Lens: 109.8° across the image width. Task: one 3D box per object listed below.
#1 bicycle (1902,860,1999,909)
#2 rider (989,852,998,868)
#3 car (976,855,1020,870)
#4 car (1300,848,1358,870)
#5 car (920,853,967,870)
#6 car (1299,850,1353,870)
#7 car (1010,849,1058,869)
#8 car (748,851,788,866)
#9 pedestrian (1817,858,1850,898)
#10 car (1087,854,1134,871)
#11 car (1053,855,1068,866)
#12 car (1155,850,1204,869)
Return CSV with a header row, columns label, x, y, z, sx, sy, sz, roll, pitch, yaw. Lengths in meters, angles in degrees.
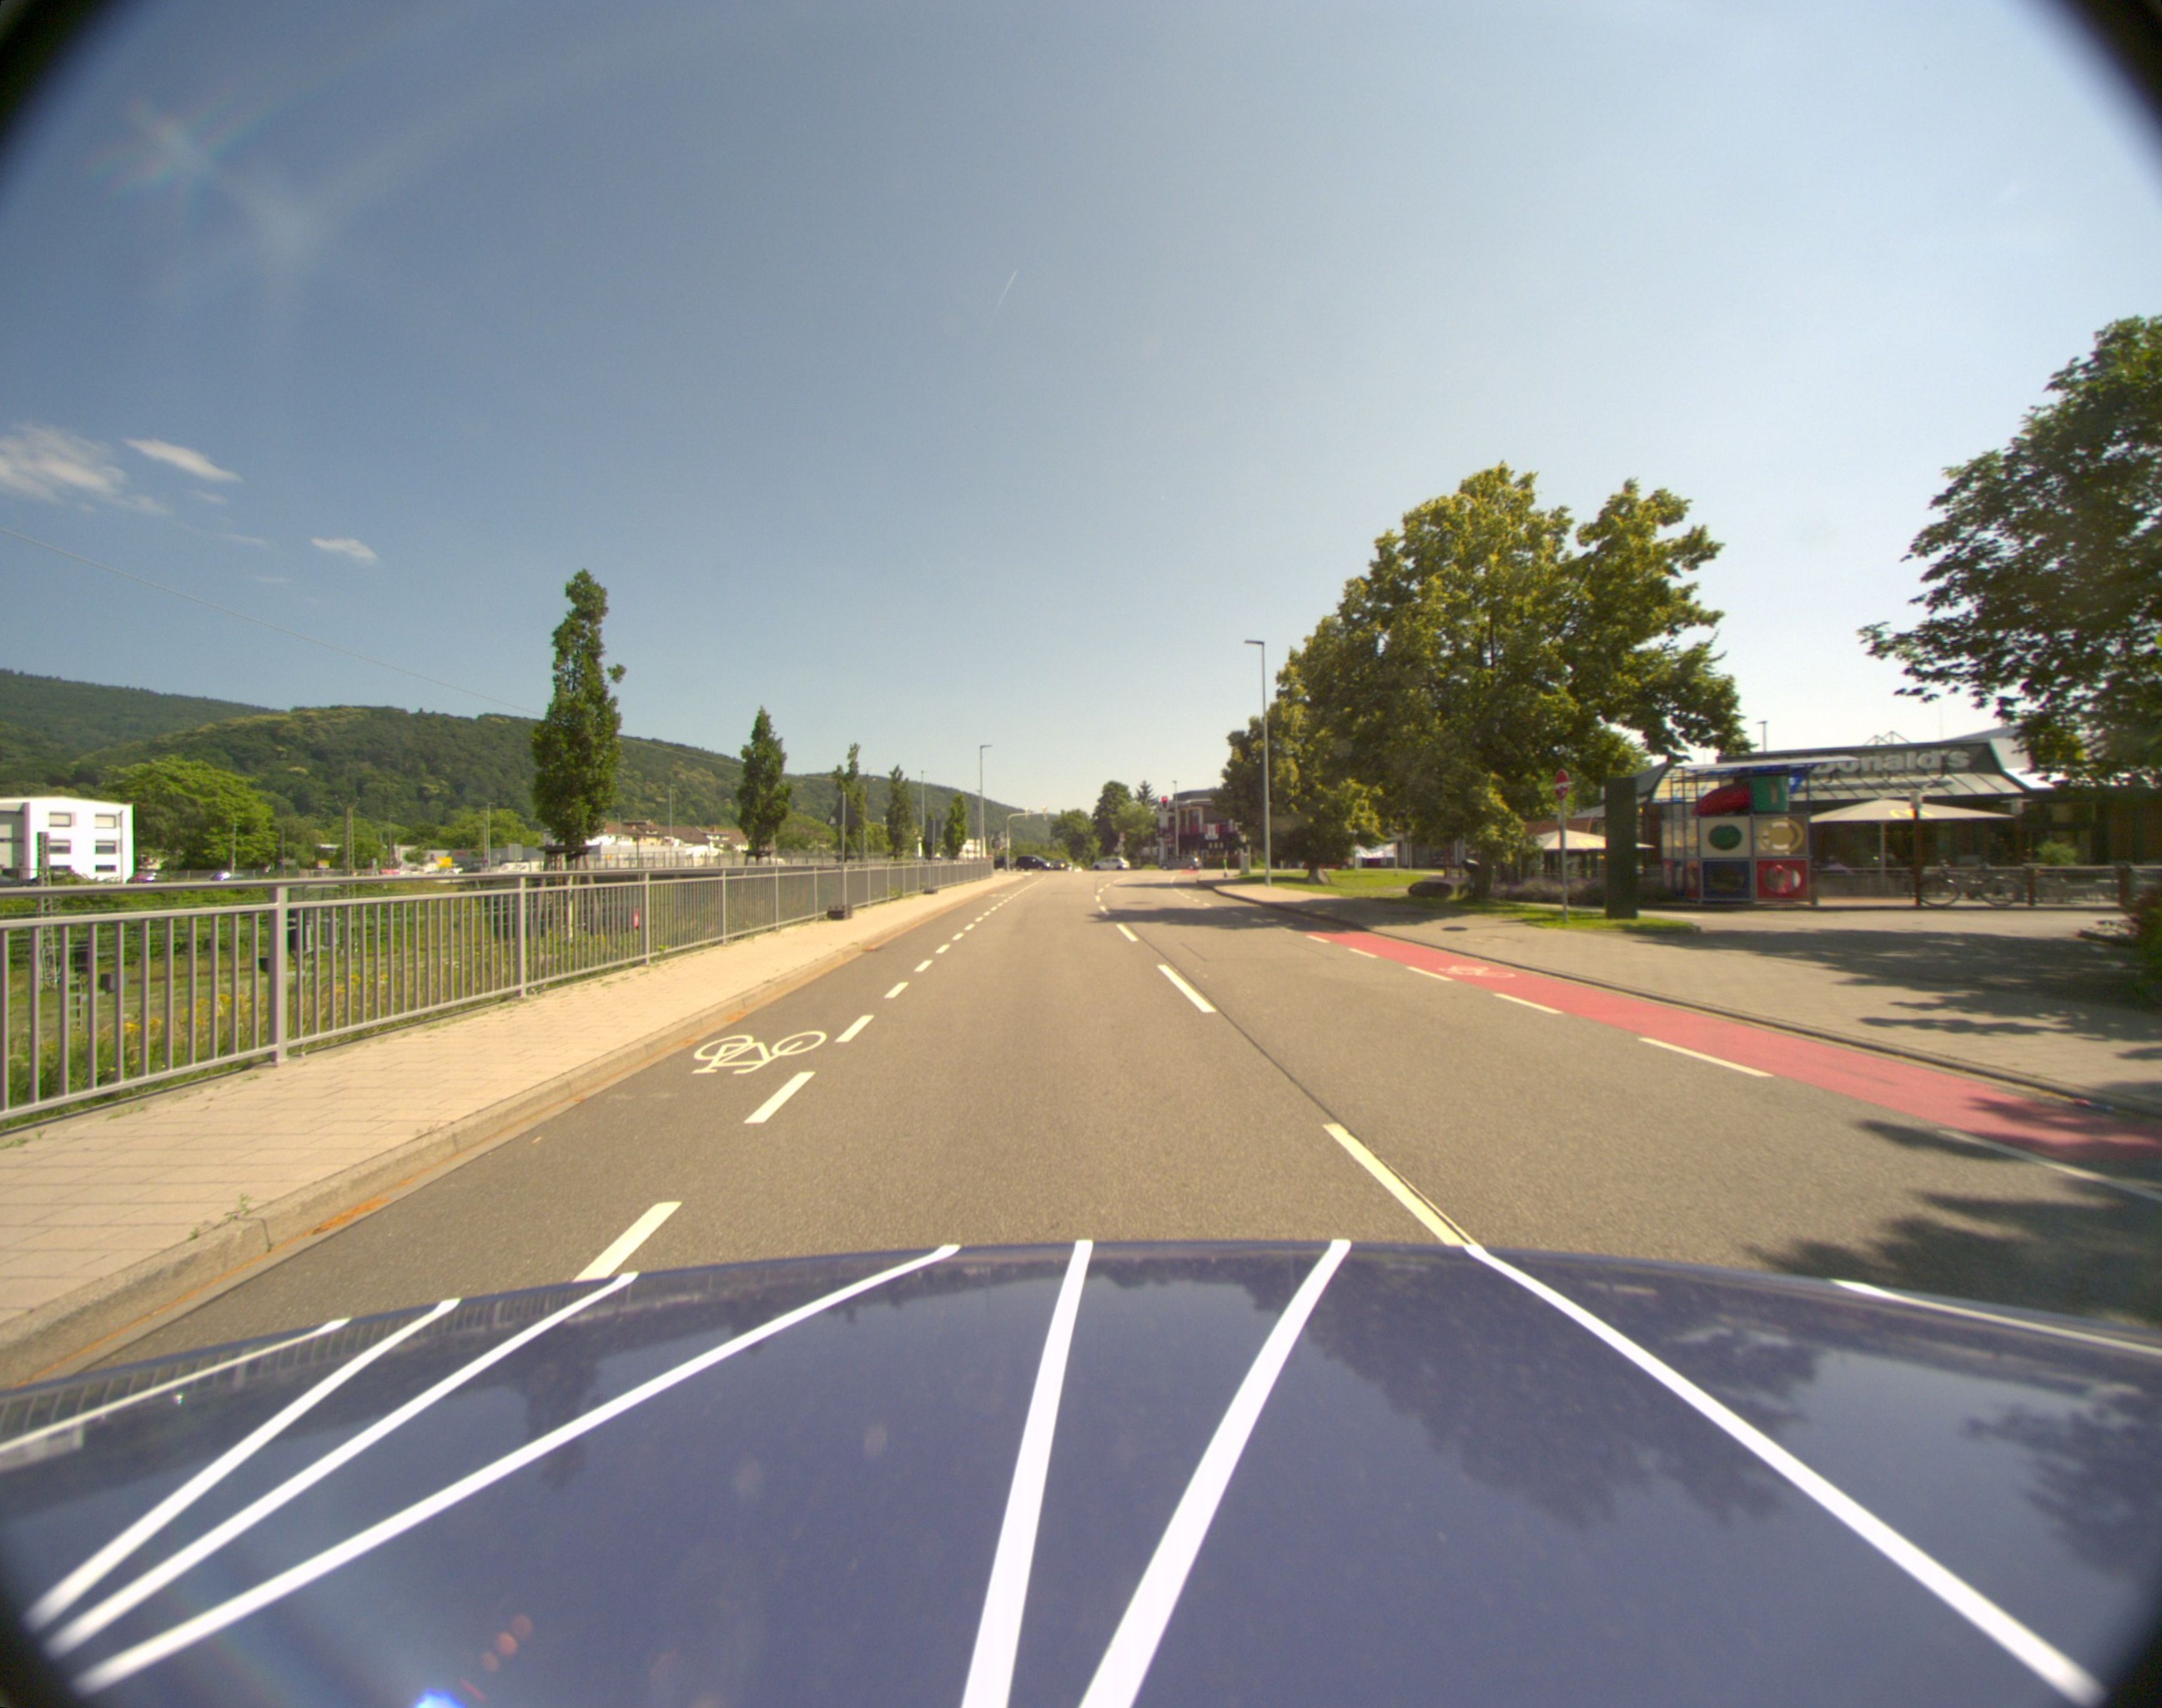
label,x,y,z,sx,sy,sz,roll,pitch,yaw
bicycle,21.944,0.785,19.203,1.608,1.180,0.310,-3,2,27
rider,-9.876,0.669,85.854,0.684,1.804,0.548,-1,4,24
car,-8.931,0.898,81.878,4.360,1.483,1.834,-1,3,25
car,20.322,0.430,62.210,4.360,1.670,1.834,-1,3,23
car,-14.573,0.756,80.419,4.755,1.643,1.834,0,4,28
car,22.086,0.516,68.488,4.360,1.618,1.834,-1,3,24
car,-4.640,0.519,75.416,4.359,1.839,1.834,-1,4,26
car,-36.944,0.528,89.705,4.569,1.643,1.834,0,4,27
pedestrian,23.927,0.767,24.170,0.551,1.203,0.593,-6,1,31
car,3.019,0.838,76.962,4.360,1.618,1.834,-1,3,25
car,-2.459,0.803,92.423,1.610,1.248,3.681,-1,0,-4
car,9.562,0.538,73.779,4.360,1.618,1.834,-1,3,24
